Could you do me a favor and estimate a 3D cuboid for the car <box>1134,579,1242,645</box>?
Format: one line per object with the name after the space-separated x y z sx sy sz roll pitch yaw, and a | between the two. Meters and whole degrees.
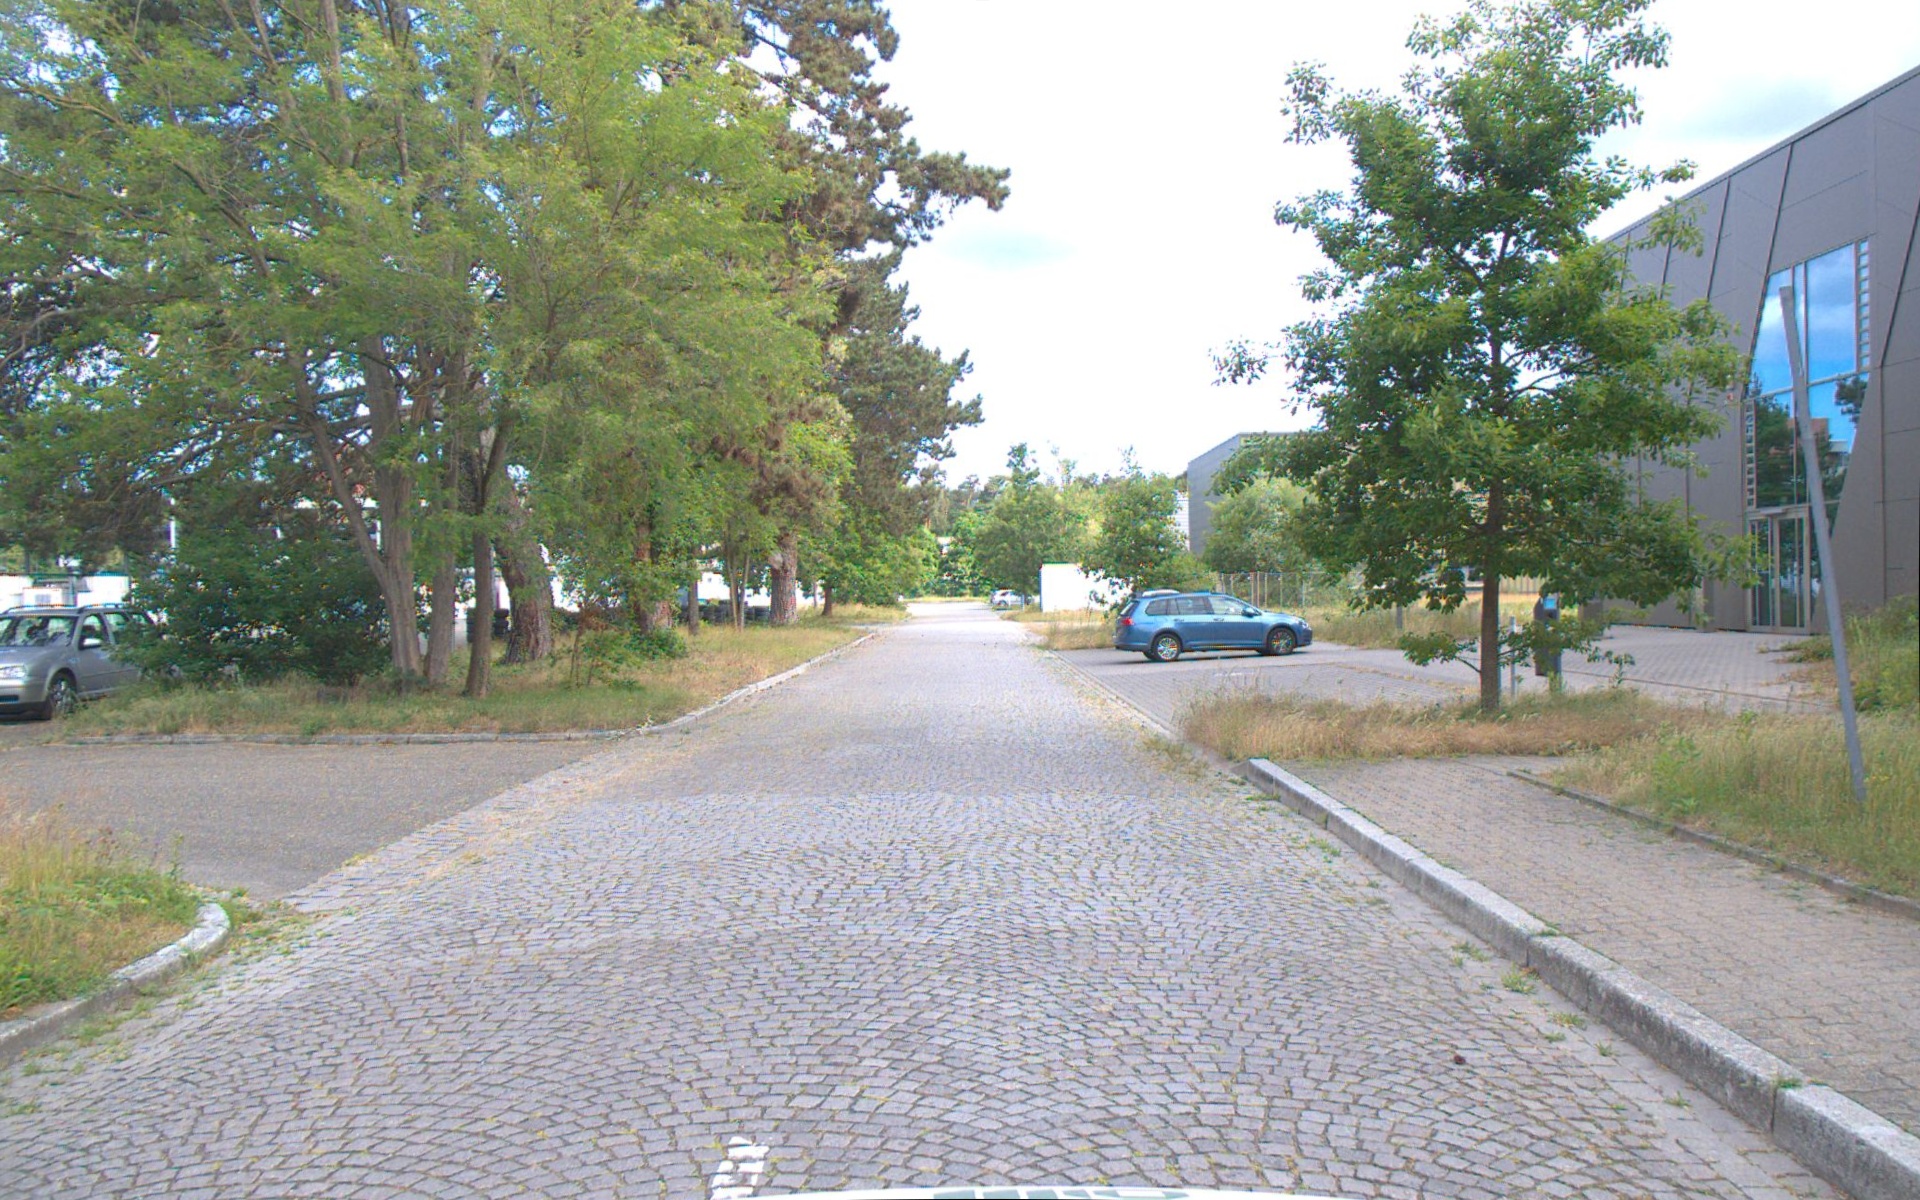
6.186 0.314 45.039 2.654 1.583 1.654 -3 0 1 | car

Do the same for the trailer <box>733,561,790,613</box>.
-14.843 -0.980 124.381 2.571 3.660 10.180 -1 0 2 | trailer

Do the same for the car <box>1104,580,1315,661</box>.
5.606 0.441 37.469 4.401 1.501 1.829 -4 0 -3 | car

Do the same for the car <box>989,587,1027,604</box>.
4.442 -0.463 154.595 3.450 1.386 1.622 -3 0 0 | car

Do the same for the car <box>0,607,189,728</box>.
-12.488 0.862 22.783 1.788 1.441 4.419 -1 0 -2 | car
